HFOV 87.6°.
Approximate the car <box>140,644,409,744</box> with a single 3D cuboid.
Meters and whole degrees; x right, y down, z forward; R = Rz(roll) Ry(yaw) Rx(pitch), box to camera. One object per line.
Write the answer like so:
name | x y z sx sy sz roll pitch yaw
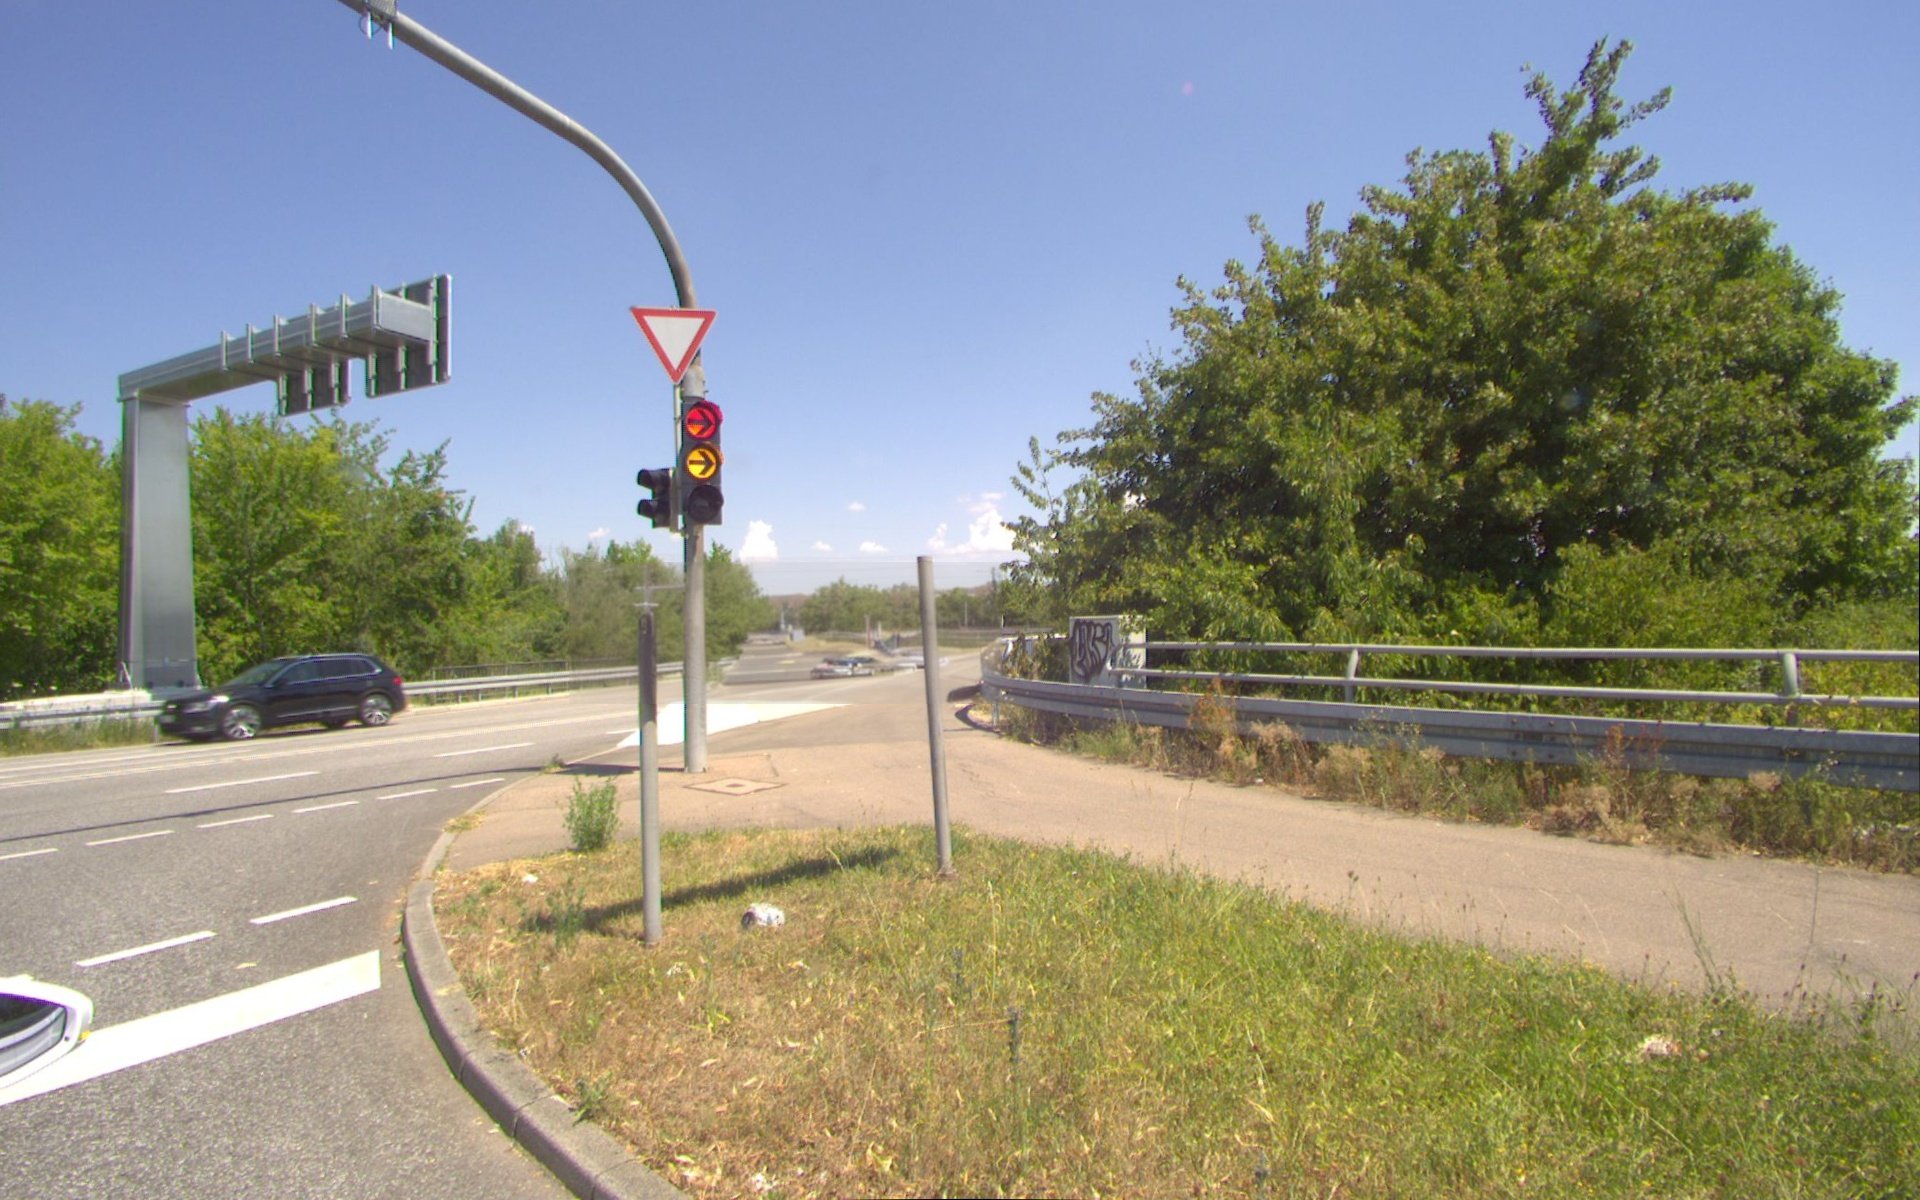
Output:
car | -14.306 1.920 21.175 1.877 1.652 4.257 -5 -2 28
